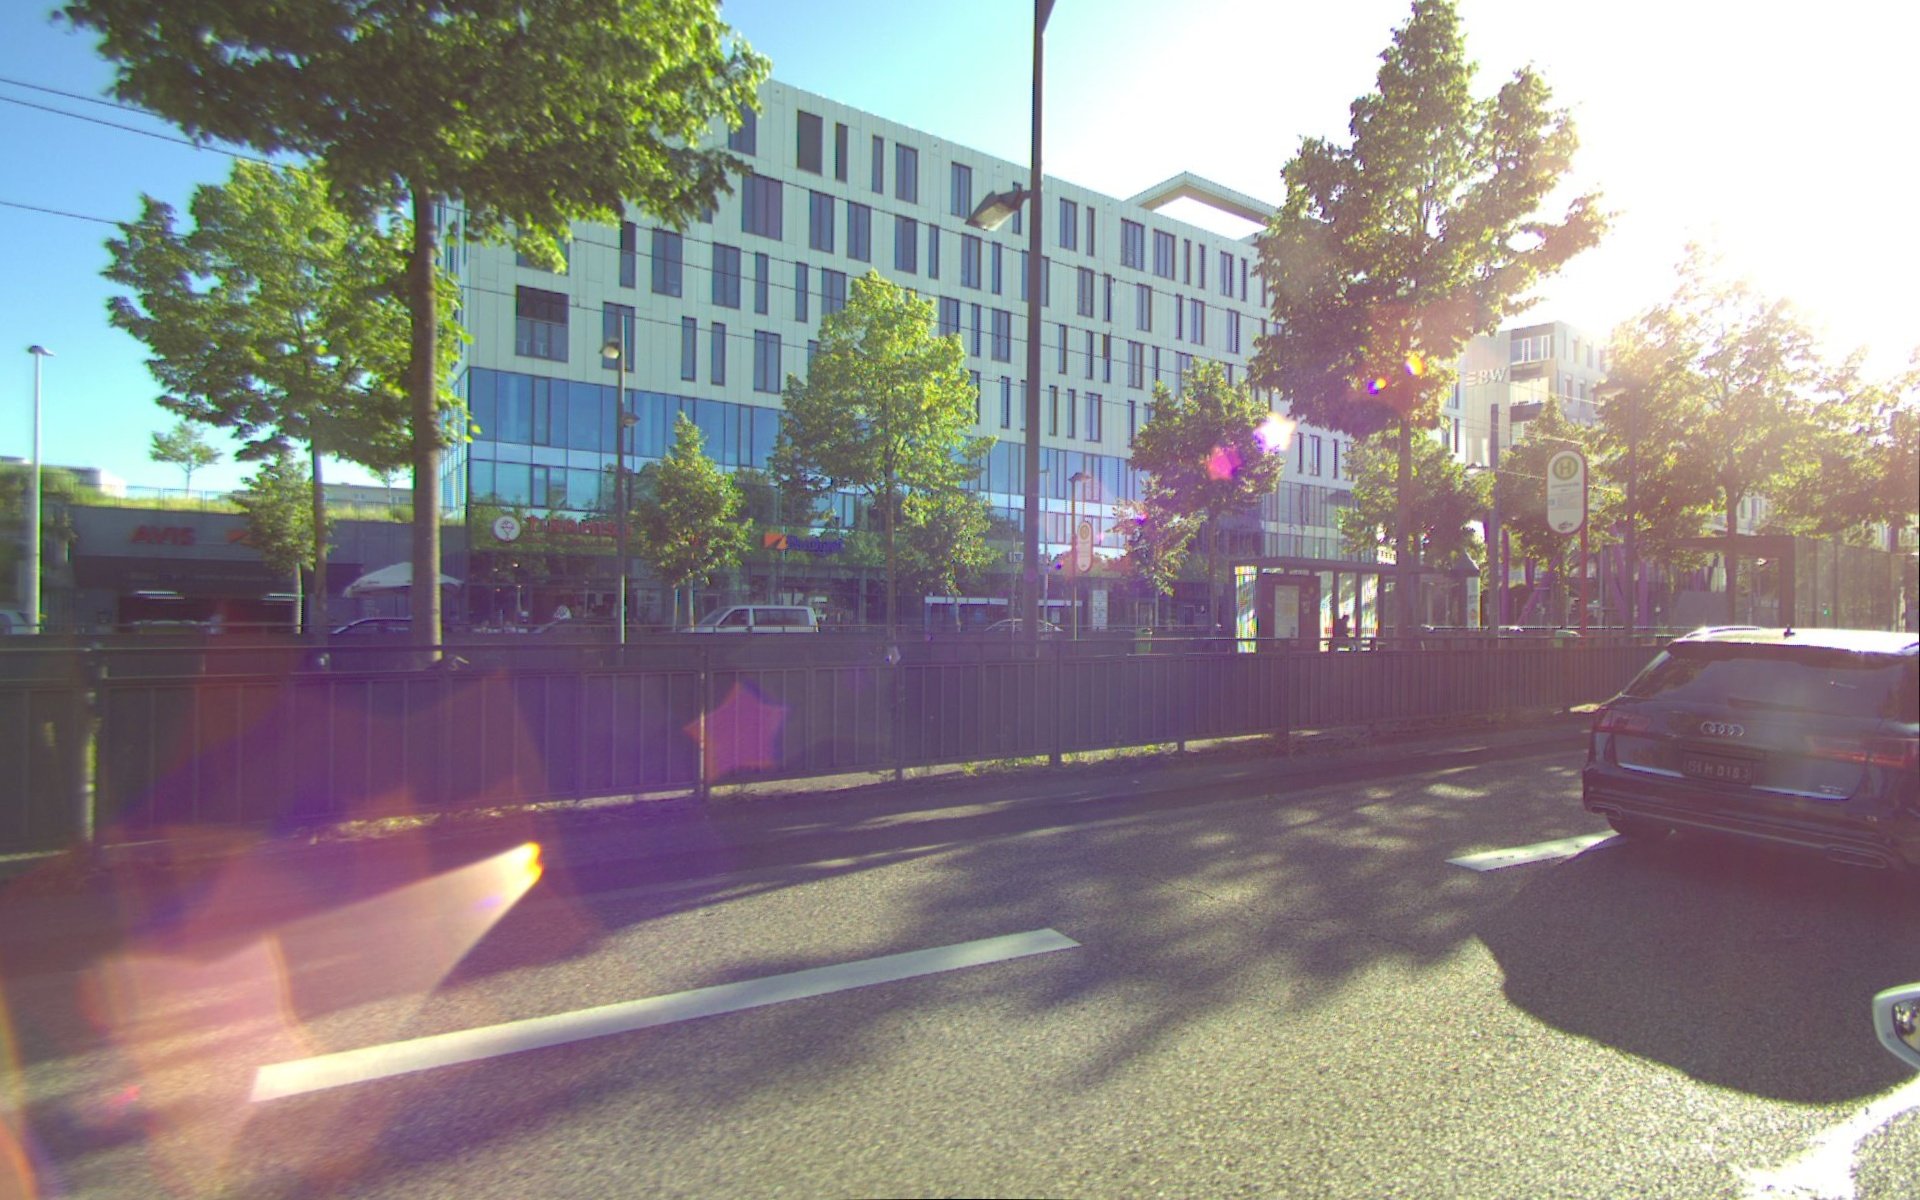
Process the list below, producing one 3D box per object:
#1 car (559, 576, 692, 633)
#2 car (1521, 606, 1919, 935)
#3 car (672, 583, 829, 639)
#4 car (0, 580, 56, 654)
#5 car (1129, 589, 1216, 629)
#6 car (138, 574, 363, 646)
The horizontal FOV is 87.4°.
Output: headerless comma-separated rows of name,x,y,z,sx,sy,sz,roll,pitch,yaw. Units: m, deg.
car,-13.011,0.203,39.133,4.516,2.040,1.981,2,1,-34
car,6.150,0.847,6.831,5.030,1.500,1.941,1,0,-33
car,-7.043,0.395,33.945,4.801,1.737,1.981,2,0,-34
car,-23.464,0.333,22.434,4.563,1.630,1.981,2,0,-34
car,11.592,0.499,54.688,4.516,2.040,1.981,2,0,-34
car,-18.101,0.285,25.901,4.563,1.694,1.981,2,0,-34
